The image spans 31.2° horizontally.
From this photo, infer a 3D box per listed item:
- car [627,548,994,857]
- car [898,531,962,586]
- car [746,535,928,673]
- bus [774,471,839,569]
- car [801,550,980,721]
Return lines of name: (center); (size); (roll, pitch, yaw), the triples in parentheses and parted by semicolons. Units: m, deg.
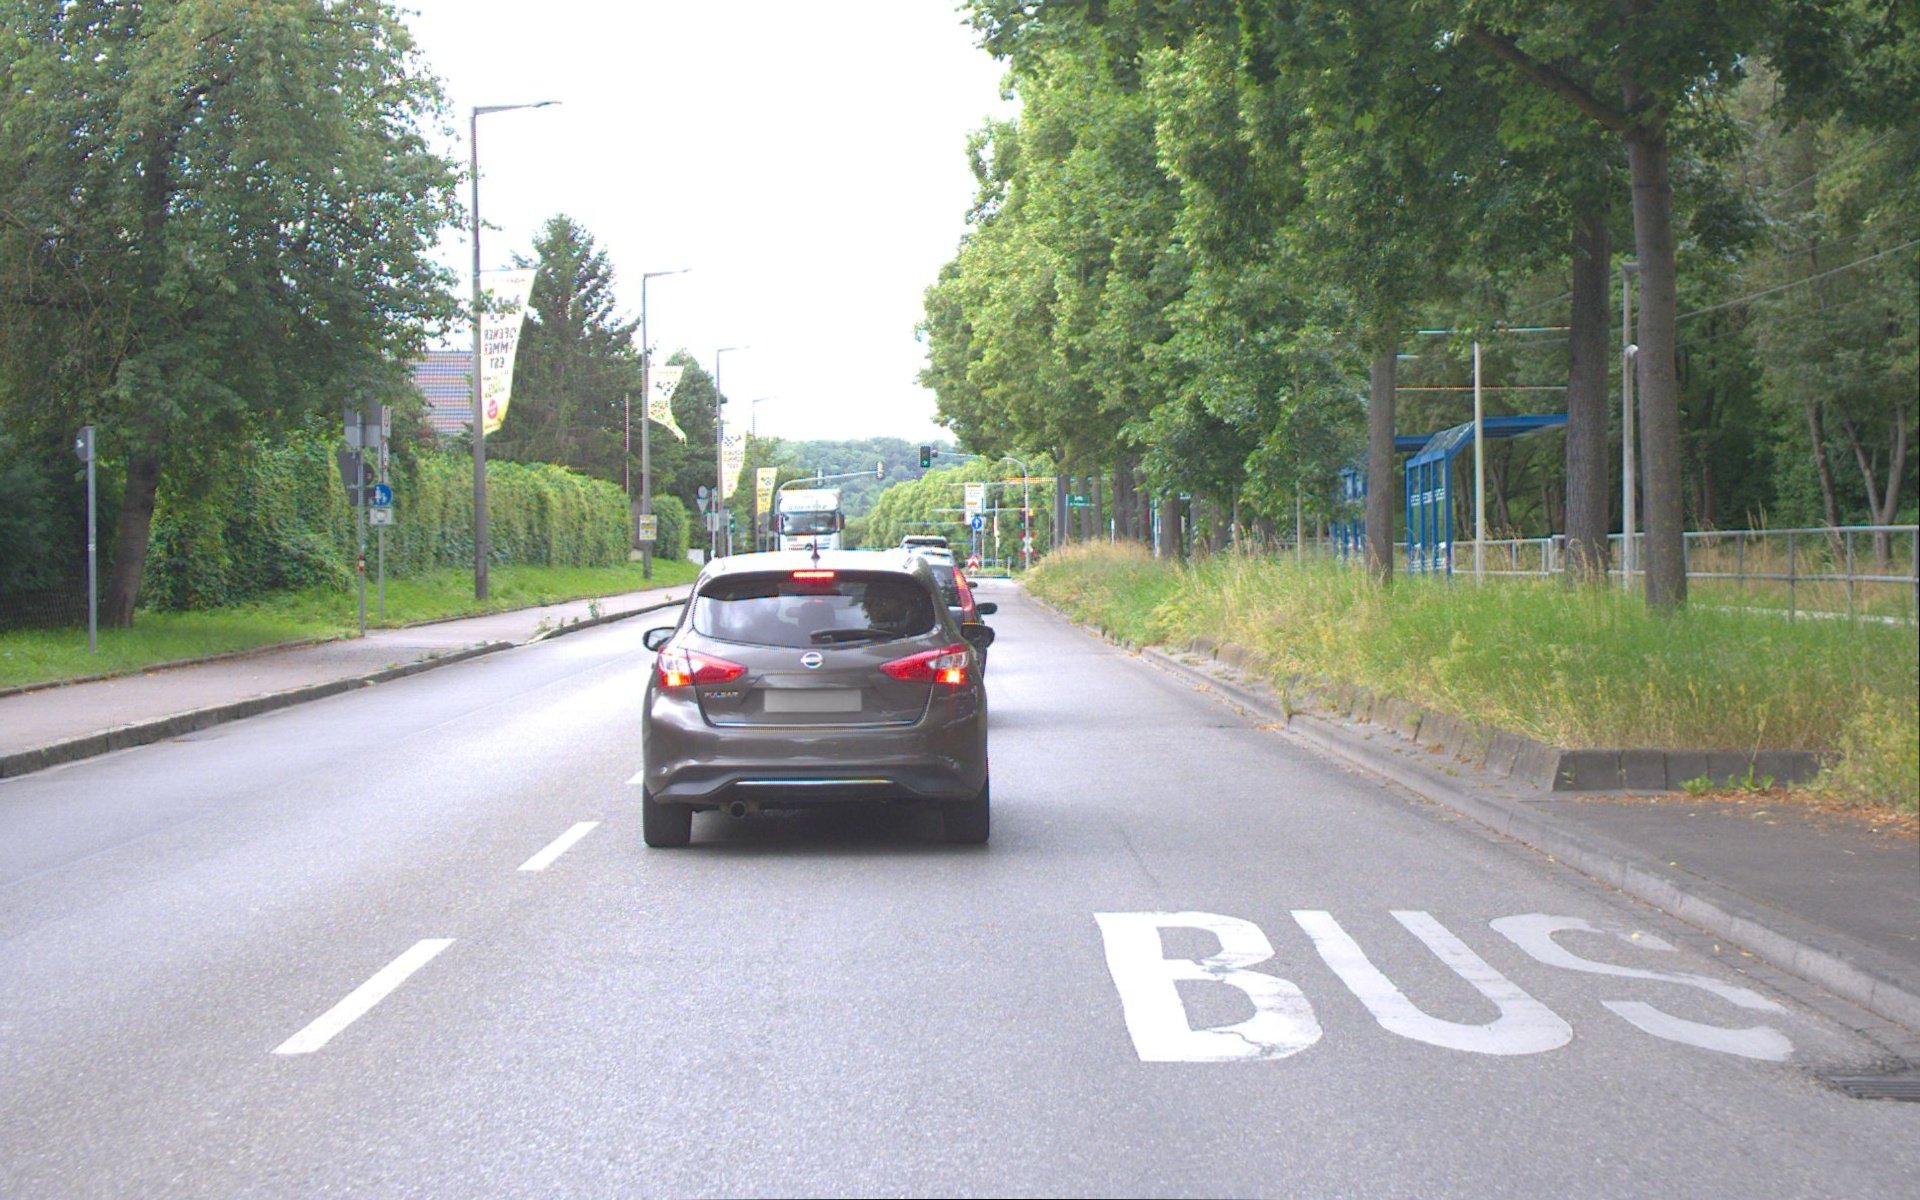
car: (-0.743, 0.489, 18.634); (1.783, 1.502, 3.696); (0, 0, 0)
car: (-0.819, -1.120, 92.729); (1.691, 1.436, 3.542); (0, 1, -1)
car: (-1.397, 0.051, 40.522); (1.993, 1.481, 4.000); (2, 0, 0)
bus: (-6.498, -3.389, 146.616); (2.487, 4.012, 10.218); (0, 1, -1)
car: (-0.618, 0.280, 30.808); (1.502, 1.436, 3.542); (0, 1, -1)
